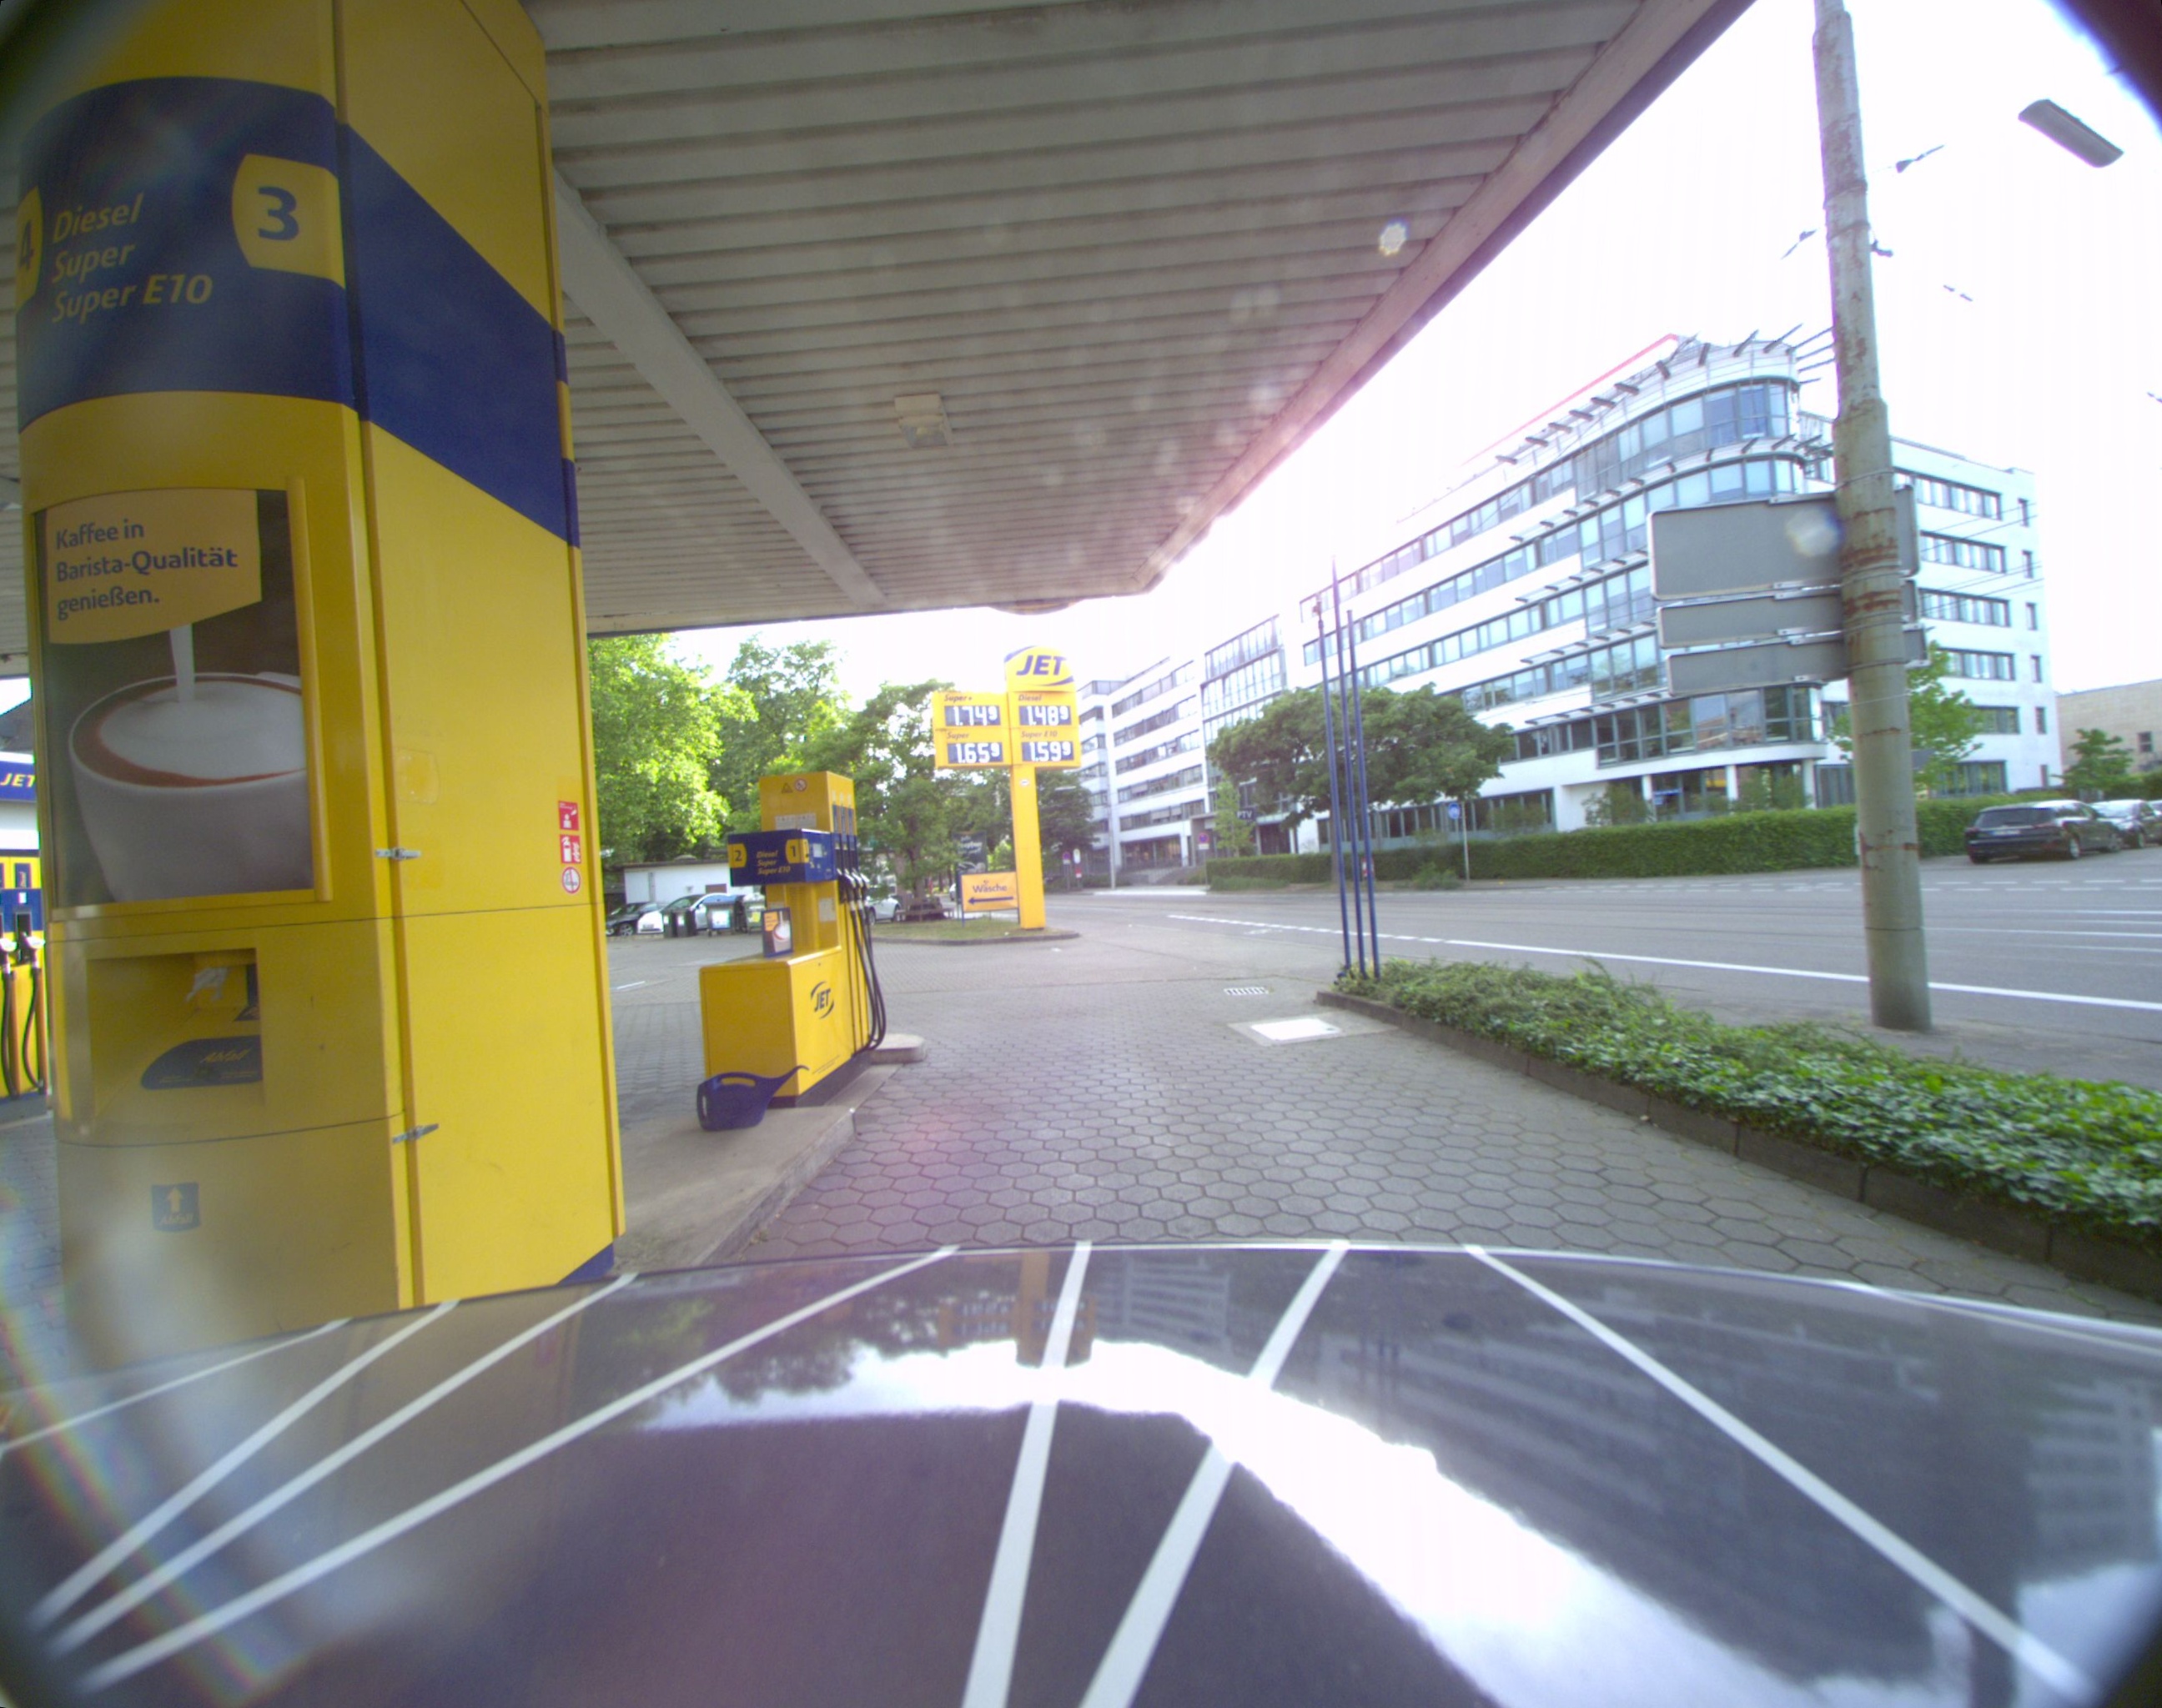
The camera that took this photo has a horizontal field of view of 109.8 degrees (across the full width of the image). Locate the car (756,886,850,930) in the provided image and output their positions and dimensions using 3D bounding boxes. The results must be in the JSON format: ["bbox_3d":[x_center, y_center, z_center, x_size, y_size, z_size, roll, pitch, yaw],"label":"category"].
[{"bbox_3d":[-11.750,2.257,32.470,1.823,1.575,4.200,-4,-2,10],"label":"car"}]

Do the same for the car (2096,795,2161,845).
[{"bbox_3d":[37.103,-1.246,26.023,4.201,1.568,1.820,-4,-1,-24],"label":"car"}]

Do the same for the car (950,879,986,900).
[{"bbox_3d":[-9.597,2.964,64.216,1.865,1.500,4.820,-5,0,-22],"label":"car"}]

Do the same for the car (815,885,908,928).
[{"bbox_3d":[-8.659,2.040,30.382,1.823,1.449,4.200,-4,-2,10],"label":"car"}]

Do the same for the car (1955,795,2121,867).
[{"bbox_3d":[27.416,-0.665,21.764,4.397,1.678,1.820,-4,-1,-24],"label":"car"}]

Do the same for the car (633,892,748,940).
[{"bbox_3d":[-15.393,2.404,30.258,1.823,1.575,4.200,-4,-2,10],"label":"car"}]

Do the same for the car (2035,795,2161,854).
[{"bbox_3d":[32.574,-0.953,24.075,4.201,1.568,1.820,-4,-1,-24],"label":"car"}]

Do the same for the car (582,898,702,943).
[{"bbox_3d":[-17.537,2.622,30.612,1.823,1.426,4.200,-4,-2,10],"label":"car"}]
